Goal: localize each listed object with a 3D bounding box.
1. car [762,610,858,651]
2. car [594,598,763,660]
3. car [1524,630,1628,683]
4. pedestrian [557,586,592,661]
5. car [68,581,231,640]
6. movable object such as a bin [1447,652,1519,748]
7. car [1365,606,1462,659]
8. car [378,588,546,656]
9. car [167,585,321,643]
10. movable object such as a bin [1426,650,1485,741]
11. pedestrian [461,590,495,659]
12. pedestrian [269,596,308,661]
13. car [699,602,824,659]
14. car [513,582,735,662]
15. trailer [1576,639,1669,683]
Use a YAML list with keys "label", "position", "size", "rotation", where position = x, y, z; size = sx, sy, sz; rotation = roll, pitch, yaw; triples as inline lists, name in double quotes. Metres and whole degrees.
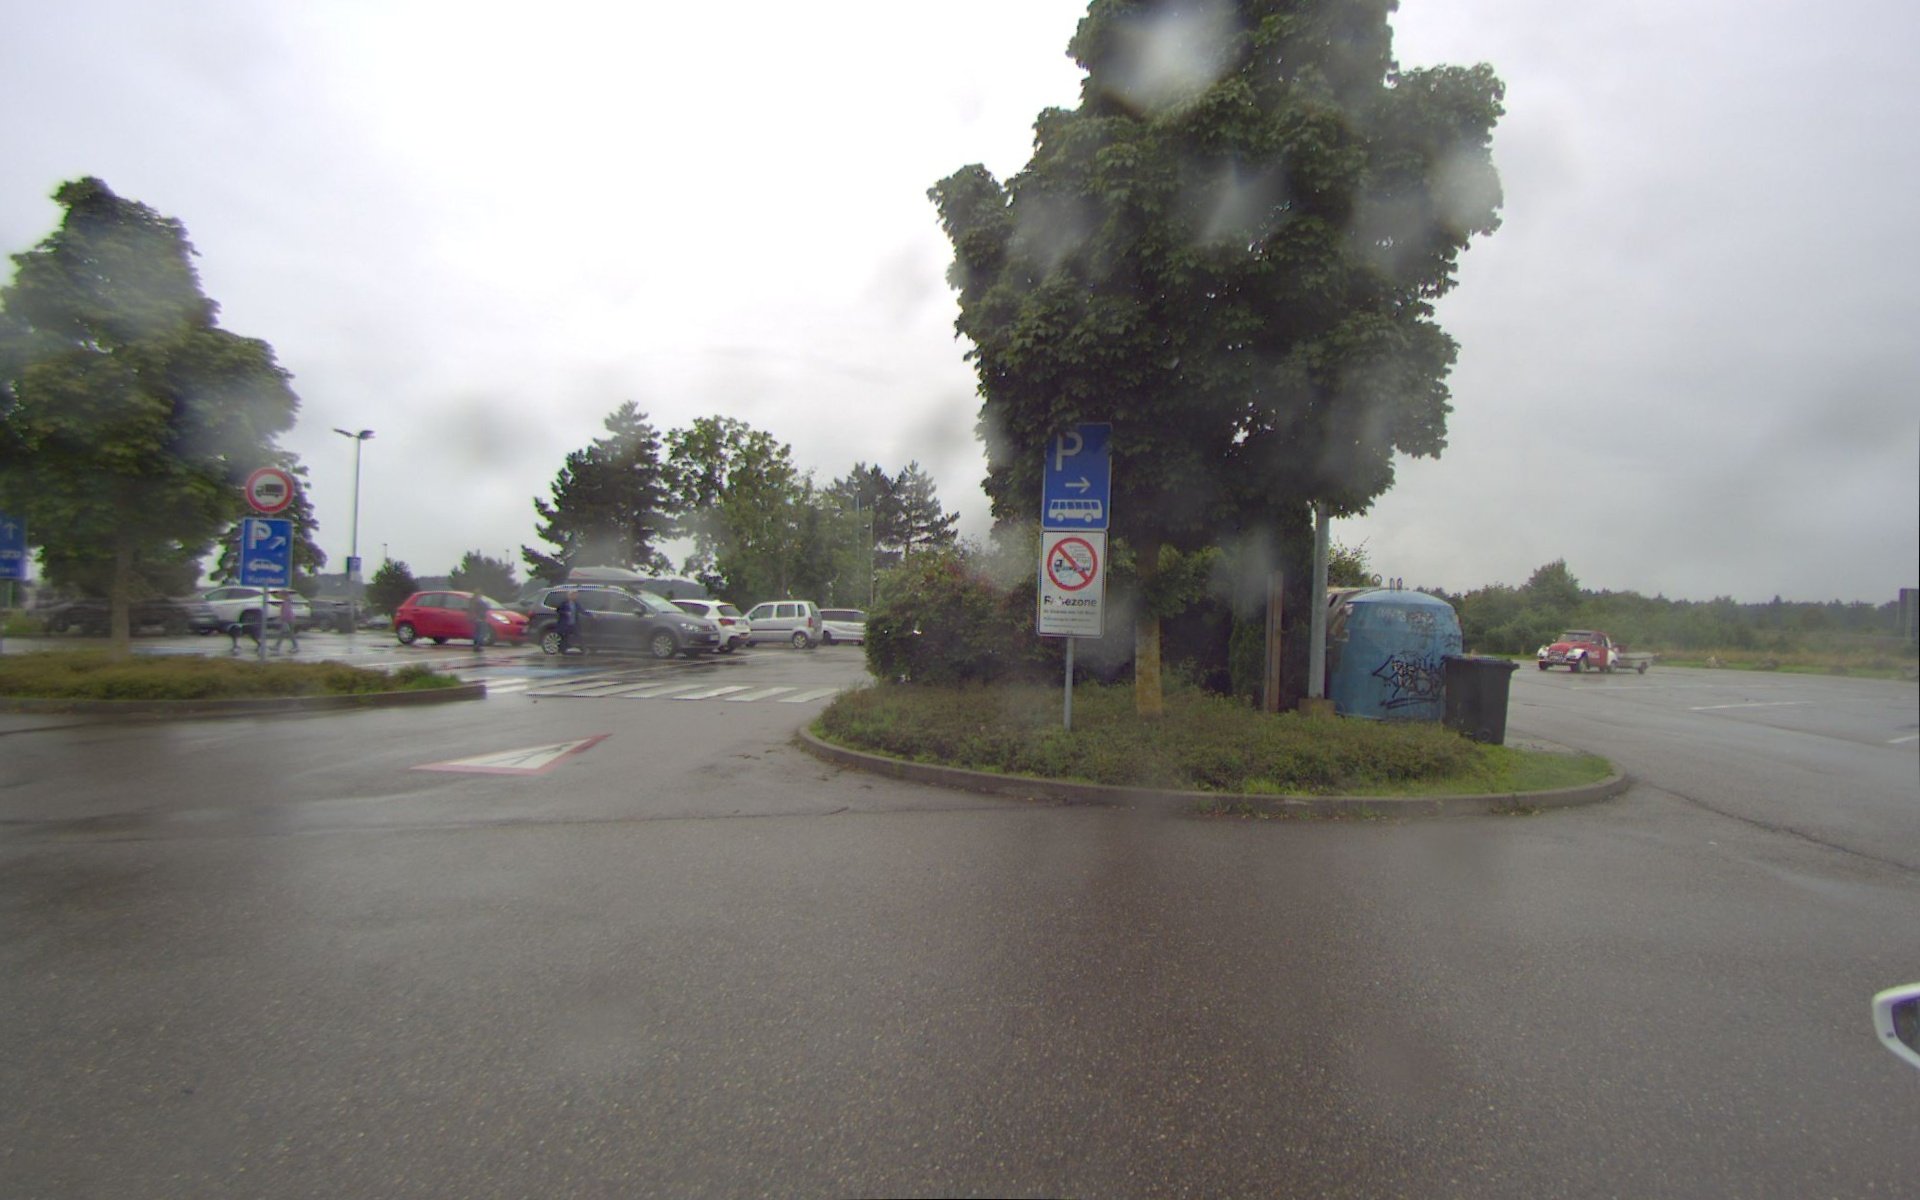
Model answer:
- label: "car"
  position: [-7.317, 1.504, 49.238]
  size: [4.280, 1.886, 1.852]
  rotation: [1, -2, 8]
- label: "car"
  position: [-7.705, 0.764, 27.651]
  size: [4.112, 1.537, 1.744]
  rotation: [1, 1, 9]
- label: "car"
  position: [22.507, 2.074, 36.654]
  size: [3.961, 1.800, 1.810]
  rotation: [3, -2, -35]
- label: "pedestrian"
  position: [-9.157, 0.560, 23.861]
  size: [0.673, 1.747, 0.609]
  rotation: [3, -2, -19]
- label: "car"
  position: [-25.697, 0.360, 31.923]
  size: [3.945, 1.738, 1.722]
  rotation: [1, -2, 8]
- label: "movable object such as a bin"
  position: [5.581, 1.060, 10.732]
  size: [0.465, 0.961, 0.434]
  rotation: [3, 1, -14]
- label: "car"
  position: [22.693, 1.662, 50.147]
  size: [5.975, 2.411, 1.978]
  rotation: [4, -3, -39]
- label: "car"
  position: [-14.253, 0.605, 28.880]
  size: [3.941, 1.816, 1.852]
  rotation: [1, 0, 8]
- label: "car"
  position: [-24.869, 0.497, 34.951]
  size: [4.280, 1.886, 1.722]
  rotation: [1, -2, 8]
- label: "movable object such as a bin"
  position: [5.572, 1.062, 11.302]
  size: [0.446, 0.961, 0.401]
  rotation: [2, 1, -39]
- label: "pedestrian"
  position: [-11.826, 0.607, 24.648]
  size: [0.639, 1.660, 0.710]
  rotation: [2, -2, -32]
- label: "pedestrian"
  position: [-14.585, 0.625, 21.821]
  size: [0.638, 1.379, 0.448]
  rotation: [3, -3, -35]
- label: "car"
  position: [-7.036, 1.087, 35.861]
  size: [3.941, 1.886, 1.852]
  rotation: [1, -2, 8]
- label: "car"
  position: [-8.327, 0.511, 25.086]
  size: [4.850, 1.816, 2.001]
  rotation: [1, 0, 8]
- label: "trailer"
  position: [25.724, 2.357, 38.974]
  size: [3.961, 1.553, 1.683]
  rotation: [3, -1, -36]
